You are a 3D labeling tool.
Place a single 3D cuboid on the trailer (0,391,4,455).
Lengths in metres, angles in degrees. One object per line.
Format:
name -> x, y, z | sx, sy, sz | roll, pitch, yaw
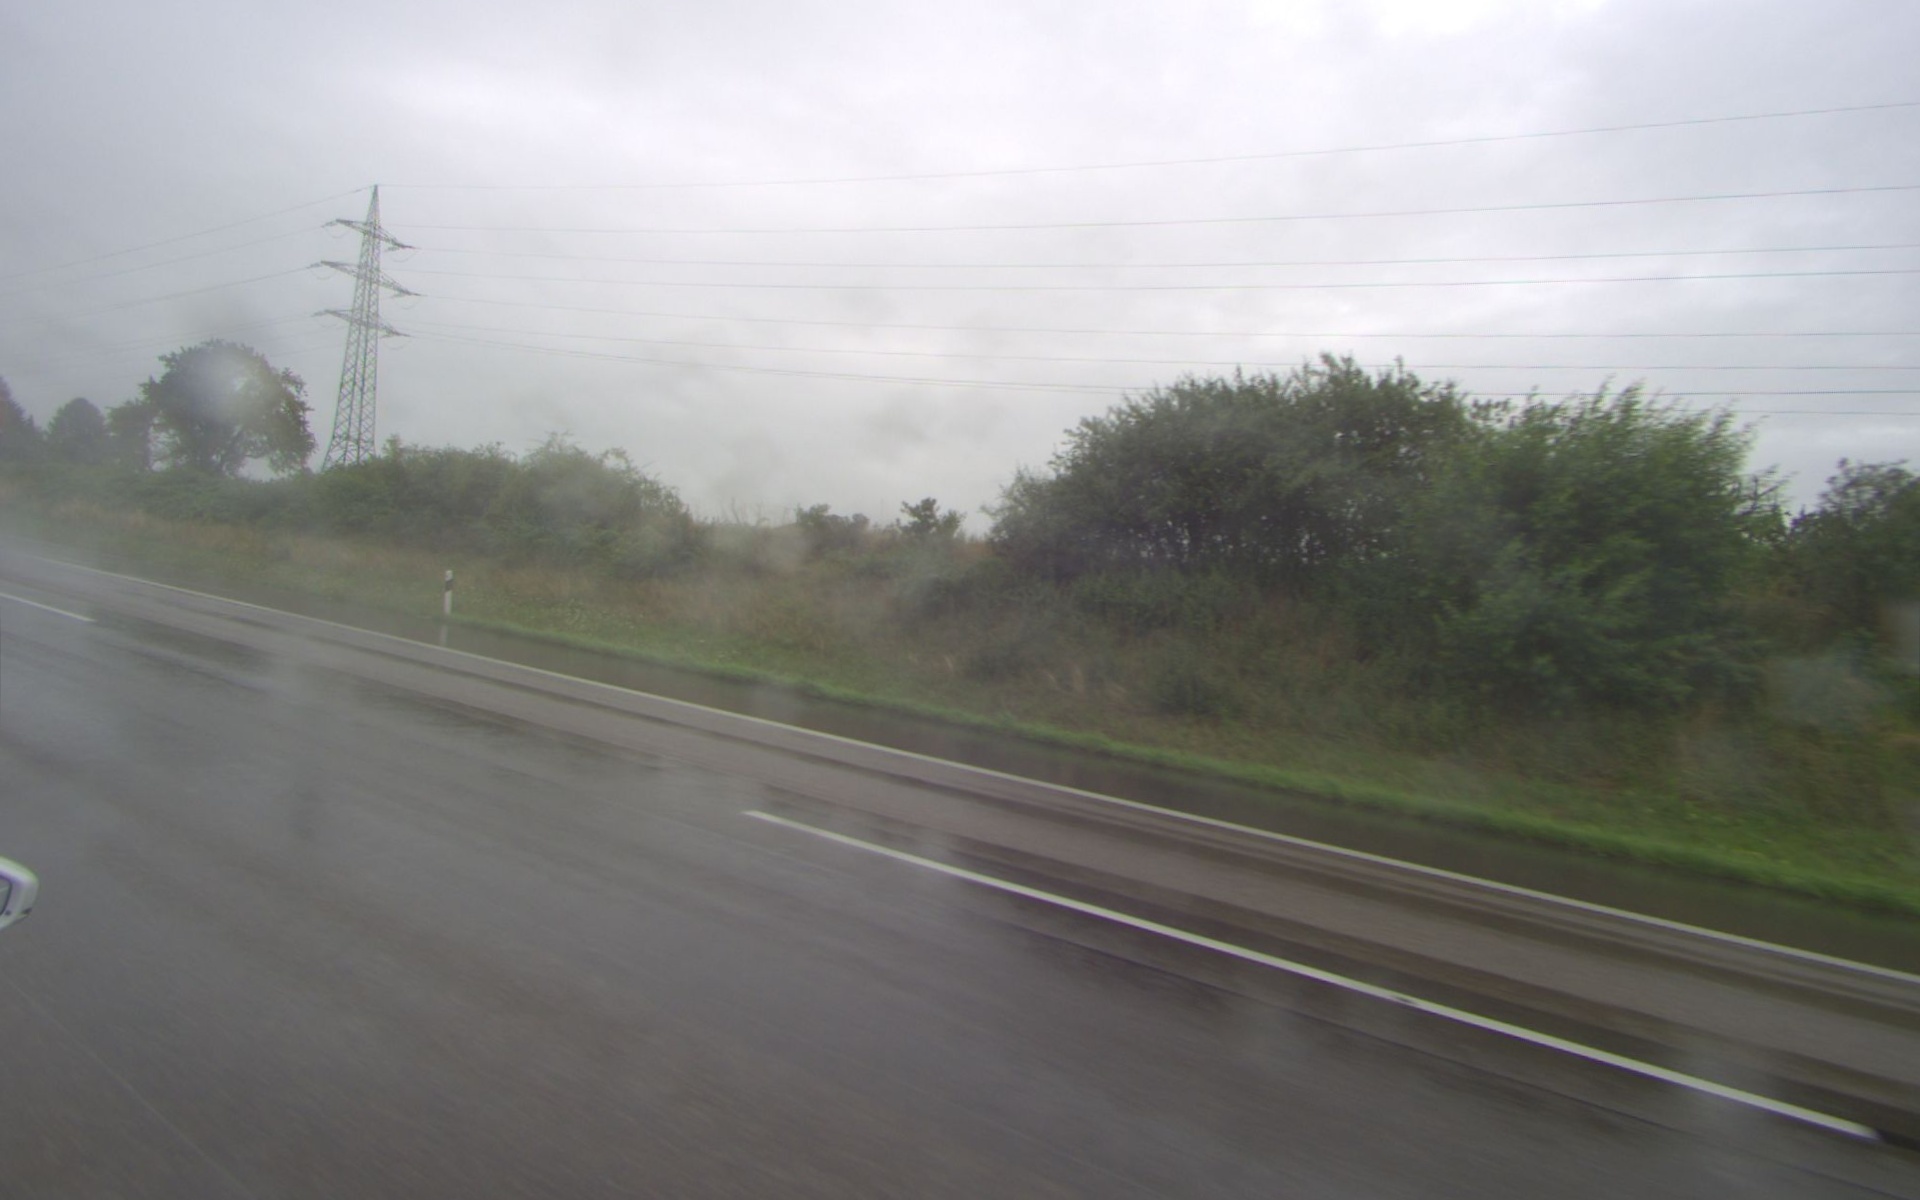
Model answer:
trailer -> -30.246, -3.866, 27.227 | 13.400, 4.007, 2.622 | 7, 2, 30
